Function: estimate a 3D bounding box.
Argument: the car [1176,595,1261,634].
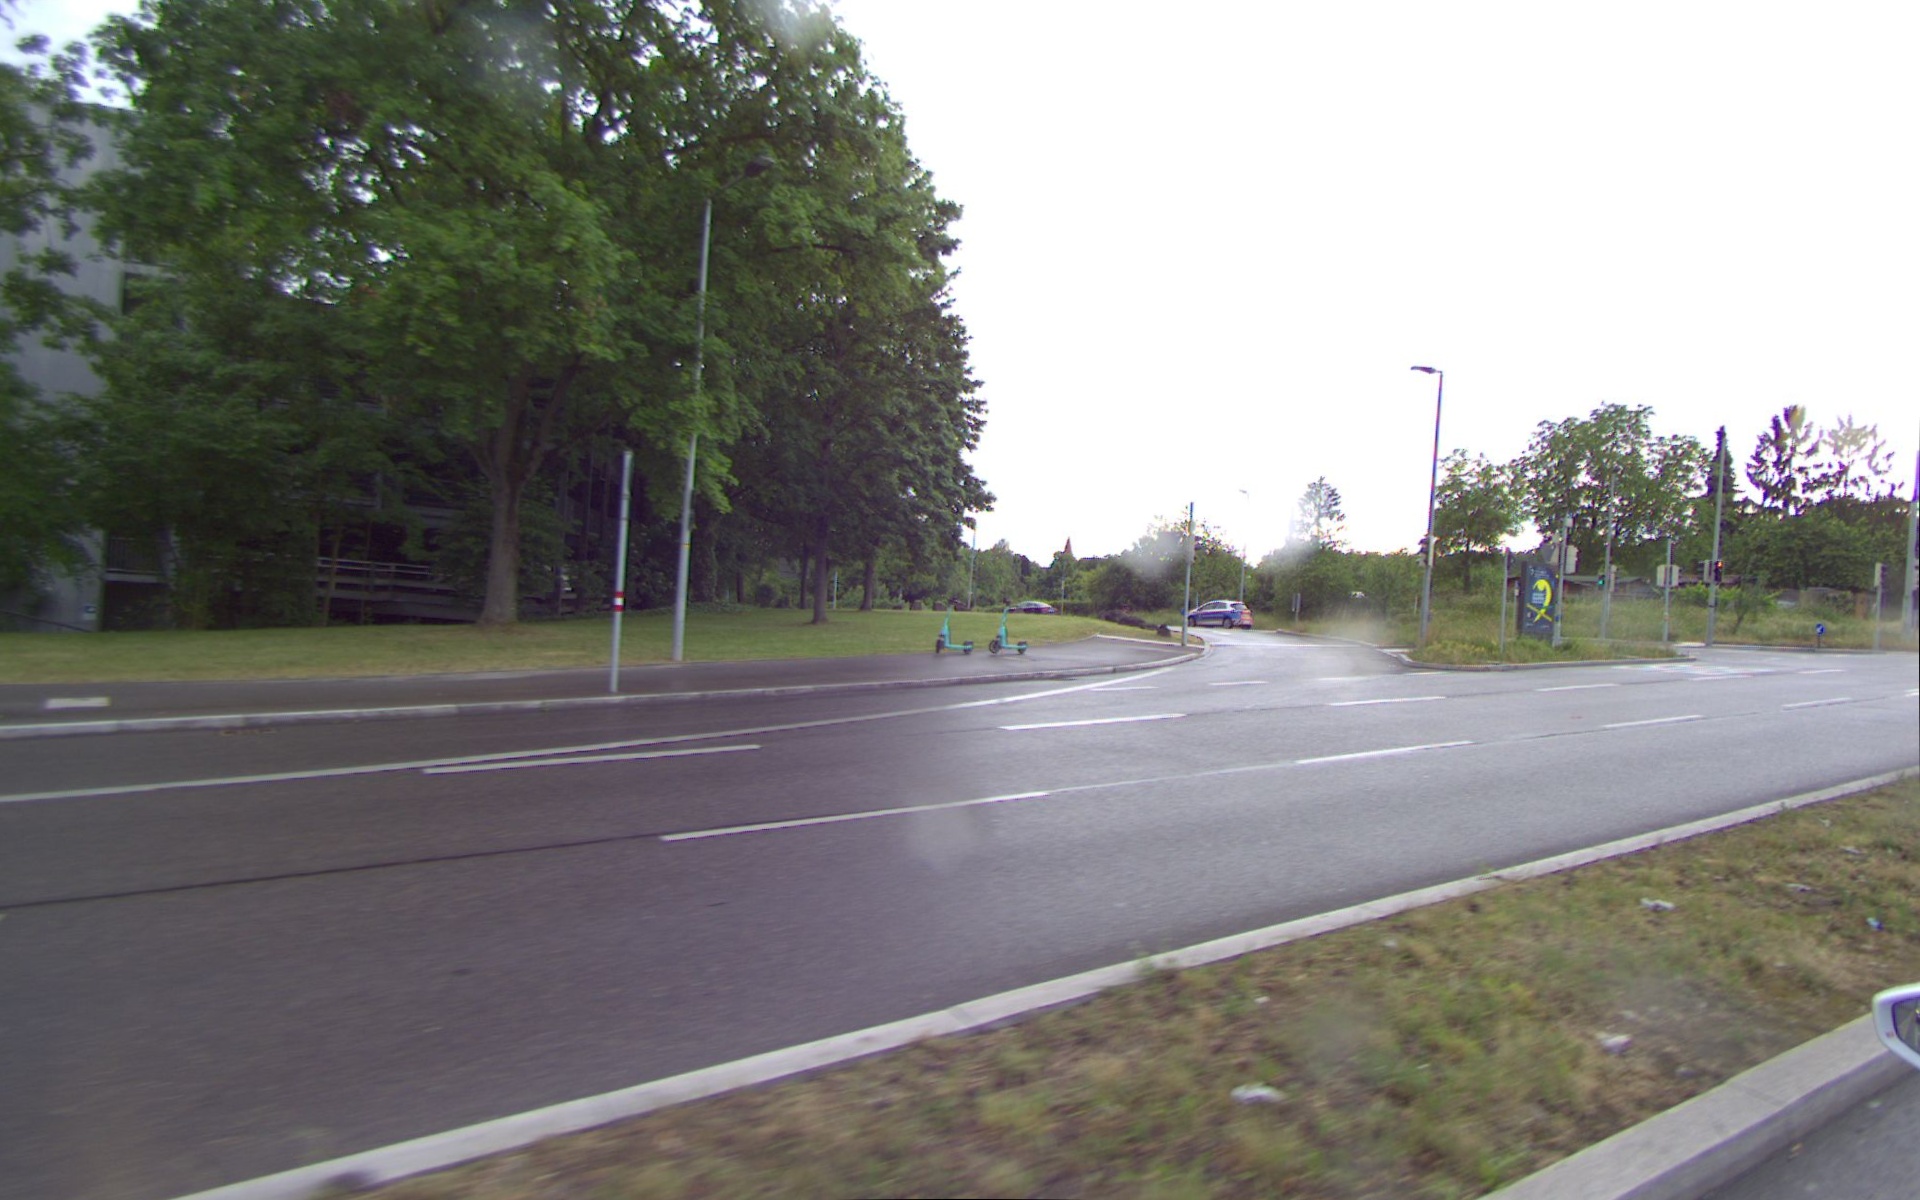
[{"bbox_3d":[14.183,0.782,55.319,2.062,1.741,4.157,3,2,-34],"label":"car"}]

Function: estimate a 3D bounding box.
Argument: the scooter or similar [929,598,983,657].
[{"bbox_3d":[-0.082,0.580,21.786,1.299,1.234,0.308,0,2,-45],"label":"scooter or similar"}]

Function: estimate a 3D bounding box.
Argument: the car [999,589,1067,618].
[{"bbox_3d":[4.907,0.200,68.254,2.152,1.604,4.617,3,2,-35],"label":"car"}]

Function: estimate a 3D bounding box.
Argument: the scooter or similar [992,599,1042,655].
[{"bbox_3d":[1.303,0.600,22.736,1.299,1.234,0.308,0,2,-44],"label":"scooter or similar"}]
